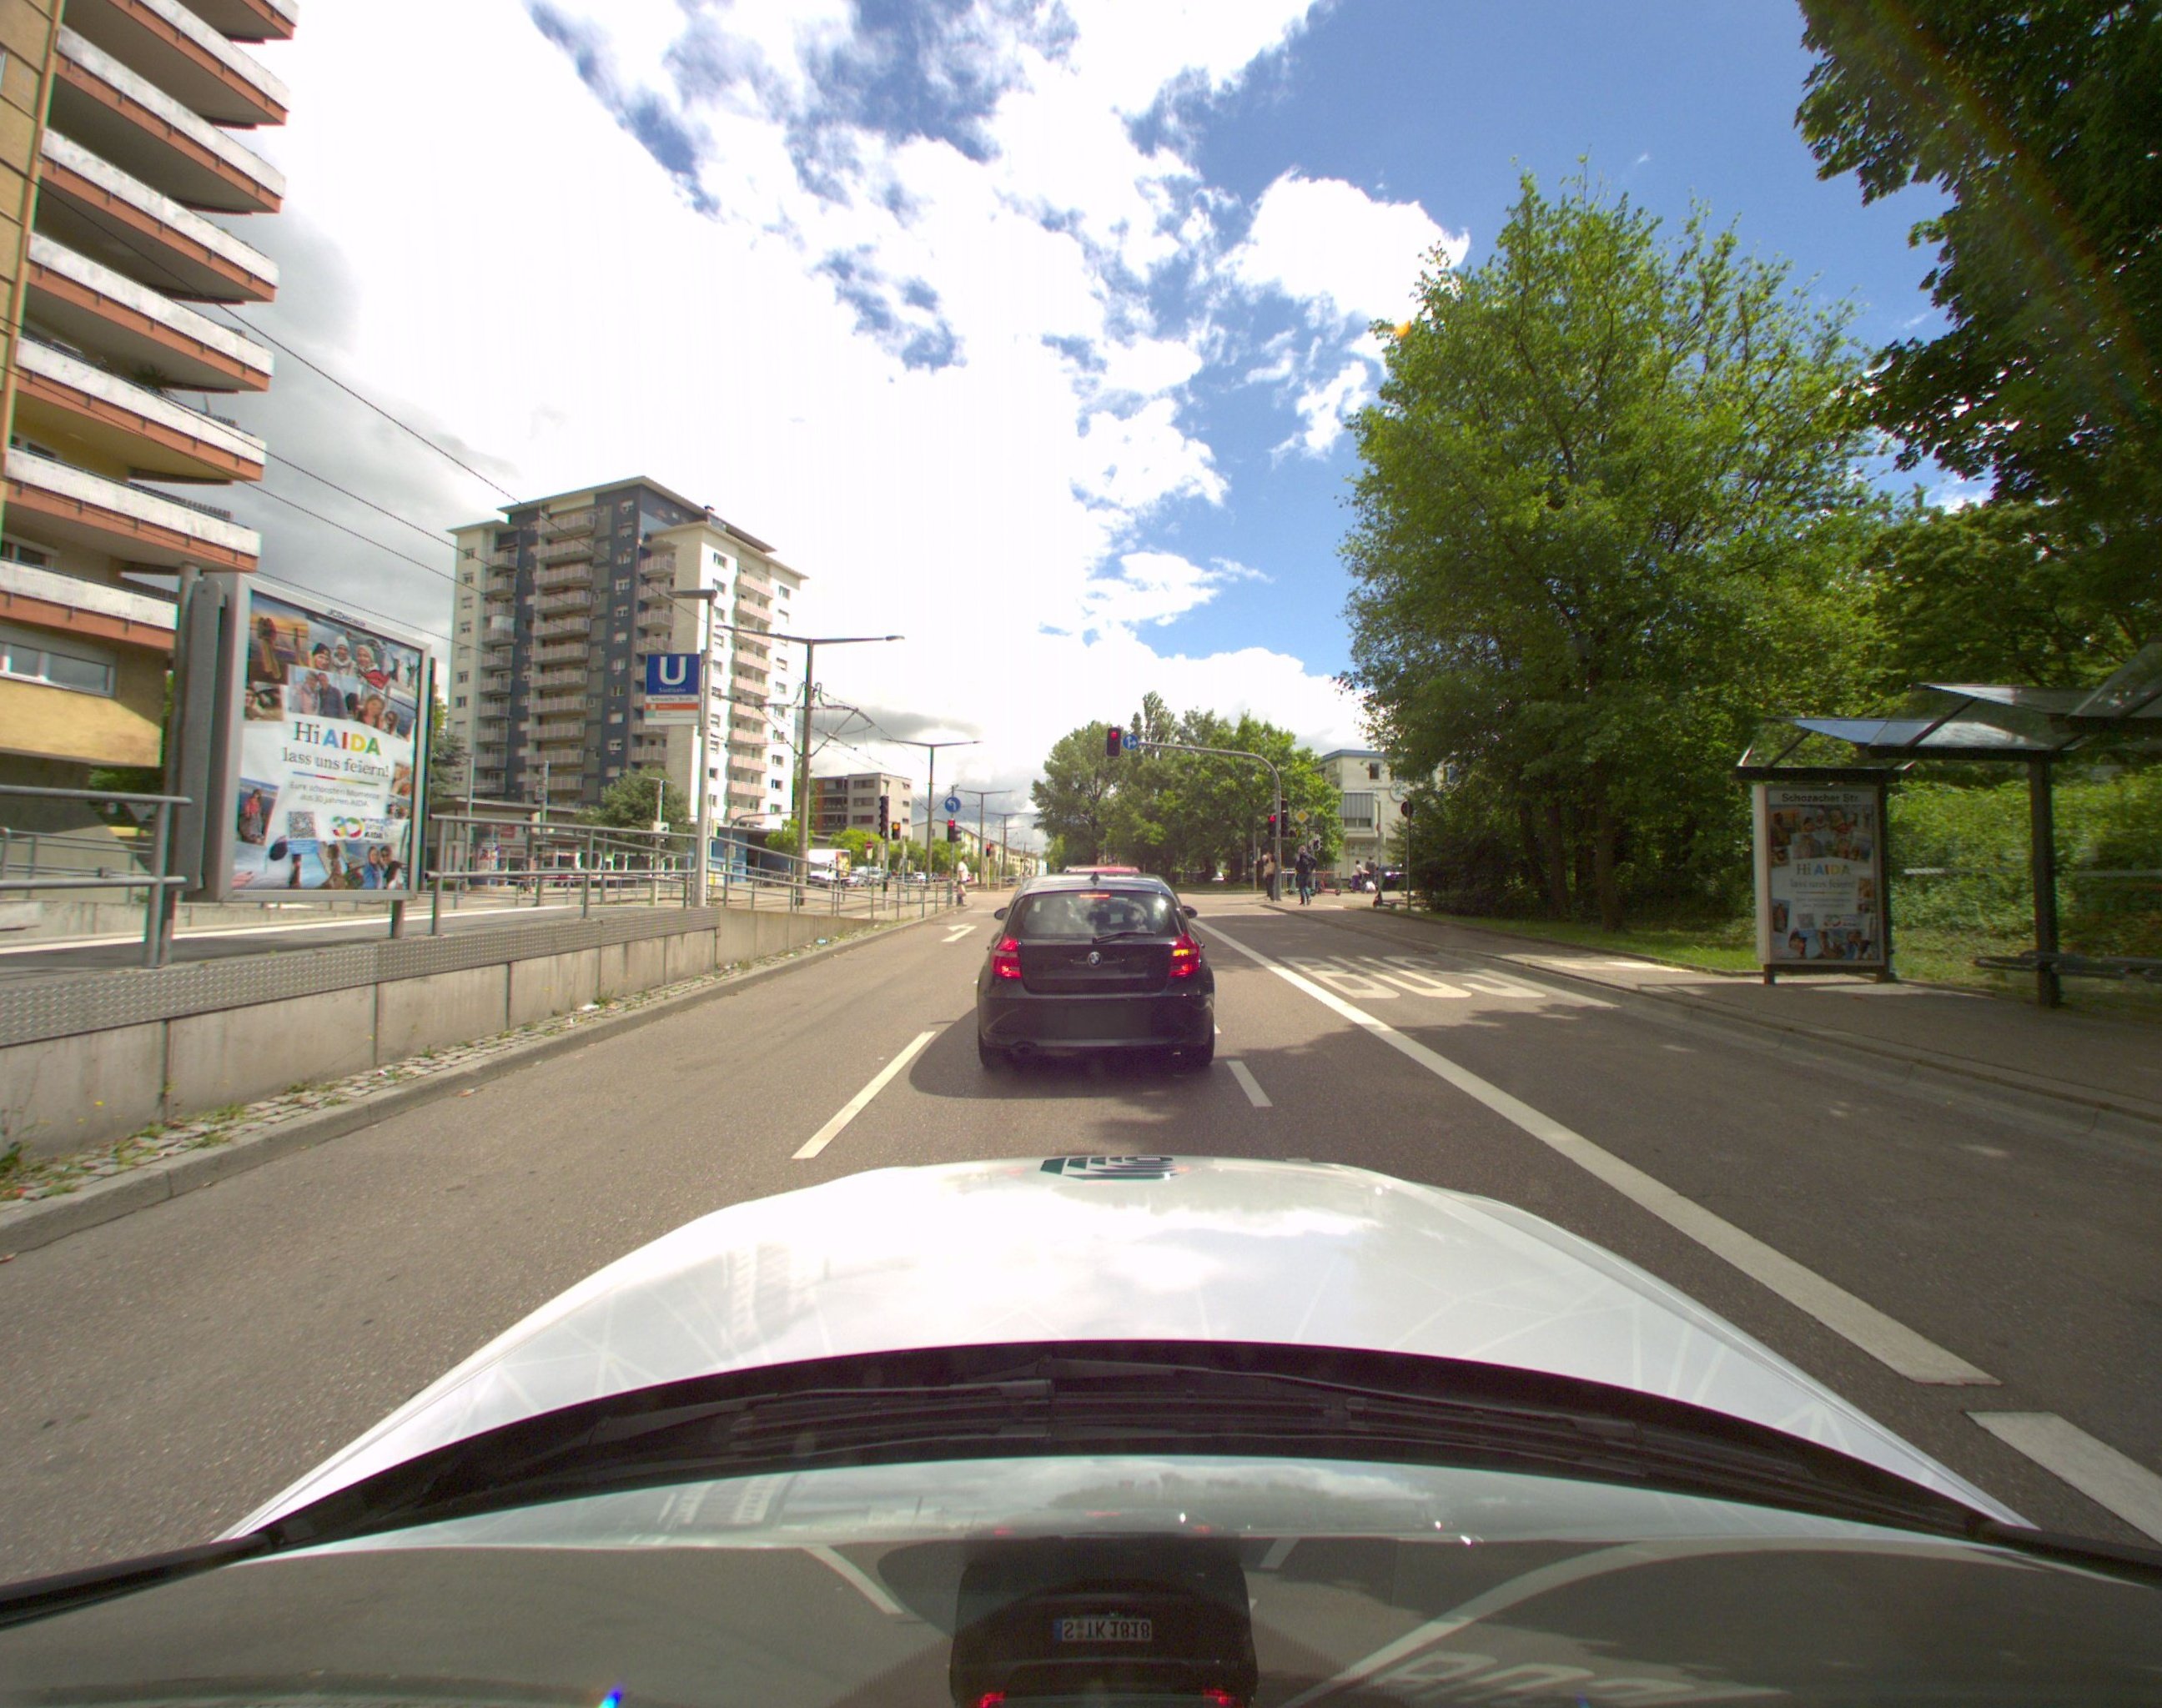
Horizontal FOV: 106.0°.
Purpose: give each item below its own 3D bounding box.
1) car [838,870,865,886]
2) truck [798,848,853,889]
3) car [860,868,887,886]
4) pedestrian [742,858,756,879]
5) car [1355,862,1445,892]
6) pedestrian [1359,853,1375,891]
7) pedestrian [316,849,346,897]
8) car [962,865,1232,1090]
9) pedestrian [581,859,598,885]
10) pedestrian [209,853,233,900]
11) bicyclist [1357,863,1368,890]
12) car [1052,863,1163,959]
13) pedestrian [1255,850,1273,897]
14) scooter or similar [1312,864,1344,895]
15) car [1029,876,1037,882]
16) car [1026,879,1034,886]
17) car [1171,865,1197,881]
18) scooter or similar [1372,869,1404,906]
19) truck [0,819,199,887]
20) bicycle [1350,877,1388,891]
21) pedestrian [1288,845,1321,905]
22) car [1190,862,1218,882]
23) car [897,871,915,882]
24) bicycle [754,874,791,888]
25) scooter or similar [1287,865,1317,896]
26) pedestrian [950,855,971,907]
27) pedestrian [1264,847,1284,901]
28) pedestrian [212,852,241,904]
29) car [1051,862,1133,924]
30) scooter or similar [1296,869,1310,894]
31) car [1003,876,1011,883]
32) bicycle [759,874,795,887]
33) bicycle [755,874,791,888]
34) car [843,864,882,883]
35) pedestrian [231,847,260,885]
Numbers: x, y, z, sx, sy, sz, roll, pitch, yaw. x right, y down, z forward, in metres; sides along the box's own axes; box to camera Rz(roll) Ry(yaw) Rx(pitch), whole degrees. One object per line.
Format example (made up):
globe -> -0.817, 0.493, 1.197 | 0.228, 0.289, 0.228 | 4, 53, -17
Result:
car -> -20.688, 2.144, 73.460 | 1.402, 1.461, 3.773 | 0, -1, 0
truck -> -20.524, 1.184, 65.807 | 2.275, 3.118, 7.312 | 0, -1, -2
car -> -20.476, 2.235, 80.403 | 1.586, 1.756, 3.775 | 0, -1, 1
pedestrian -> -32.932, 1.424, 80.794 | 0.852, 2.014, 0.851 | -1, -1, 19
car -> 16.472, 1.183, 42.184 | 3.986, 1.486, 1.841 | 0, -1, -9
pedestrian -> 13.142, 0.837, 37.426 | 0.651, 1.713, 0.464 | -1, -1, 28
pedestrian -> -27.804, 0.706, 30.197 | 0.650, 1.776, 0.667 | -1, -1, 30
car -> 0.154, 0.802, 6.839 | 1.694, 1.400, 3.421 | 0, -1, 2
pedestrian -> -39.591, 1.441, 65.561 | 0.851, 2.014, 0.852 | -1, -1, 29
pedestrian -> -37.719, 0.988, 35.730 | 0.541, 2.014, 0.557 | 0, -1, -25
bicyclist -> 12.502, 0.998, 36.167 | 0.395, 1.157, 0.505 | -1, -1, 23
car -> 0.444, 0.858, 13.740 | 1.632, 1.400, 3.421 | 0, -1, 2
pedestrian -> 6.829, 0.730, 30.469 | 0.632, 1.766, 0.519 | 0, -1, 10
scooter or similar -> 10.256, 1.047, 33.814 | 1.145, 1.272, 0.556 | 1, -1, 4
car -> -12.024, 6.247, 204.619 | 1.647, 1.534, 3.868 | -3, -1, -2
car -> -11.350, 6.381, 182.196 | 1.646, 1.534, 3.869 | 0, -1, -1
car -> 11.426, 2.086, 90.561 | 1.862, 1.662, 3.987 | 0, -1, -9
scooter or similar -> 10.723, 1.161, 28.473 | 0.886, 1.230, 0.455 | 4, -1, 1
truck -> -34.575, -0.019, 28.754 | 4.262, 2.290, 2.352 | 0, -1, 2
bicycle -> 12.729, 1.327, 36.048 | 1.572, 0.610, 0.537 | 0, 1, 20
pedestrian -> 7.167, 0.678, 26.154 | 0.792, 1.876, 1.014 | -1, -1, 4
car -> 11.985, 1.754, 79.616 | 1.724, 1.871, 3.990 | 0, -1, -7
car -> -24.148, 3.050, 112.660 | 1.586, 1.474, 3.775 | 0, -1, 1
bicycle -> -23.868, 2.119, 63.039 | 2.570, 1.009, 0.749 | 2, -3, -27
scooter or similar -> 8.919, 1.081, 32.896 | 1.105, 1.235, 0.540 | 0, -1, 4
pedestrian -> -4.146, 0.913, 27.973 | 0.687, 1.734, 0.686 | -1, -1, -8
pedestrian -> 6.791, 0.715, 28.651 | 0.632, 1.876, 0.519 | 0, -1, 10
pedestrian -> -33.543, 0.930, 31.968 | 0.557, 2.014, 0.541 | 0, -1, 9
car -> 0.327, 0.922, 21.191 | 1.893, 1.422, 4.540 | 0, -1, 2
scooter or similar -> 9.480, 1.166, 34.799 | 0.543, 1.064, 1.267 | 0, -1, 16
car -> -15.331, 5.259, 168.948 | 1.791, 1.410, 3.992 | 0, -1, -5
bicycle -> -24.277, 2.144, 65.076 | 2.570, 1.009, 0.749 | 2, -3, -27
bicycle -> -24.154, 2.134, 63.971 | 2.570, 1.009, 0.749 | 2, -3, -27
car -> -24.223, 2.159, 90.291 | 3.945, 1.975, 1.637 | 0, -1, -41
pedestrian -> -32.562, 0.453, 31.737 | 0.496, 1.440, 0.550 | -3, -1, 4
